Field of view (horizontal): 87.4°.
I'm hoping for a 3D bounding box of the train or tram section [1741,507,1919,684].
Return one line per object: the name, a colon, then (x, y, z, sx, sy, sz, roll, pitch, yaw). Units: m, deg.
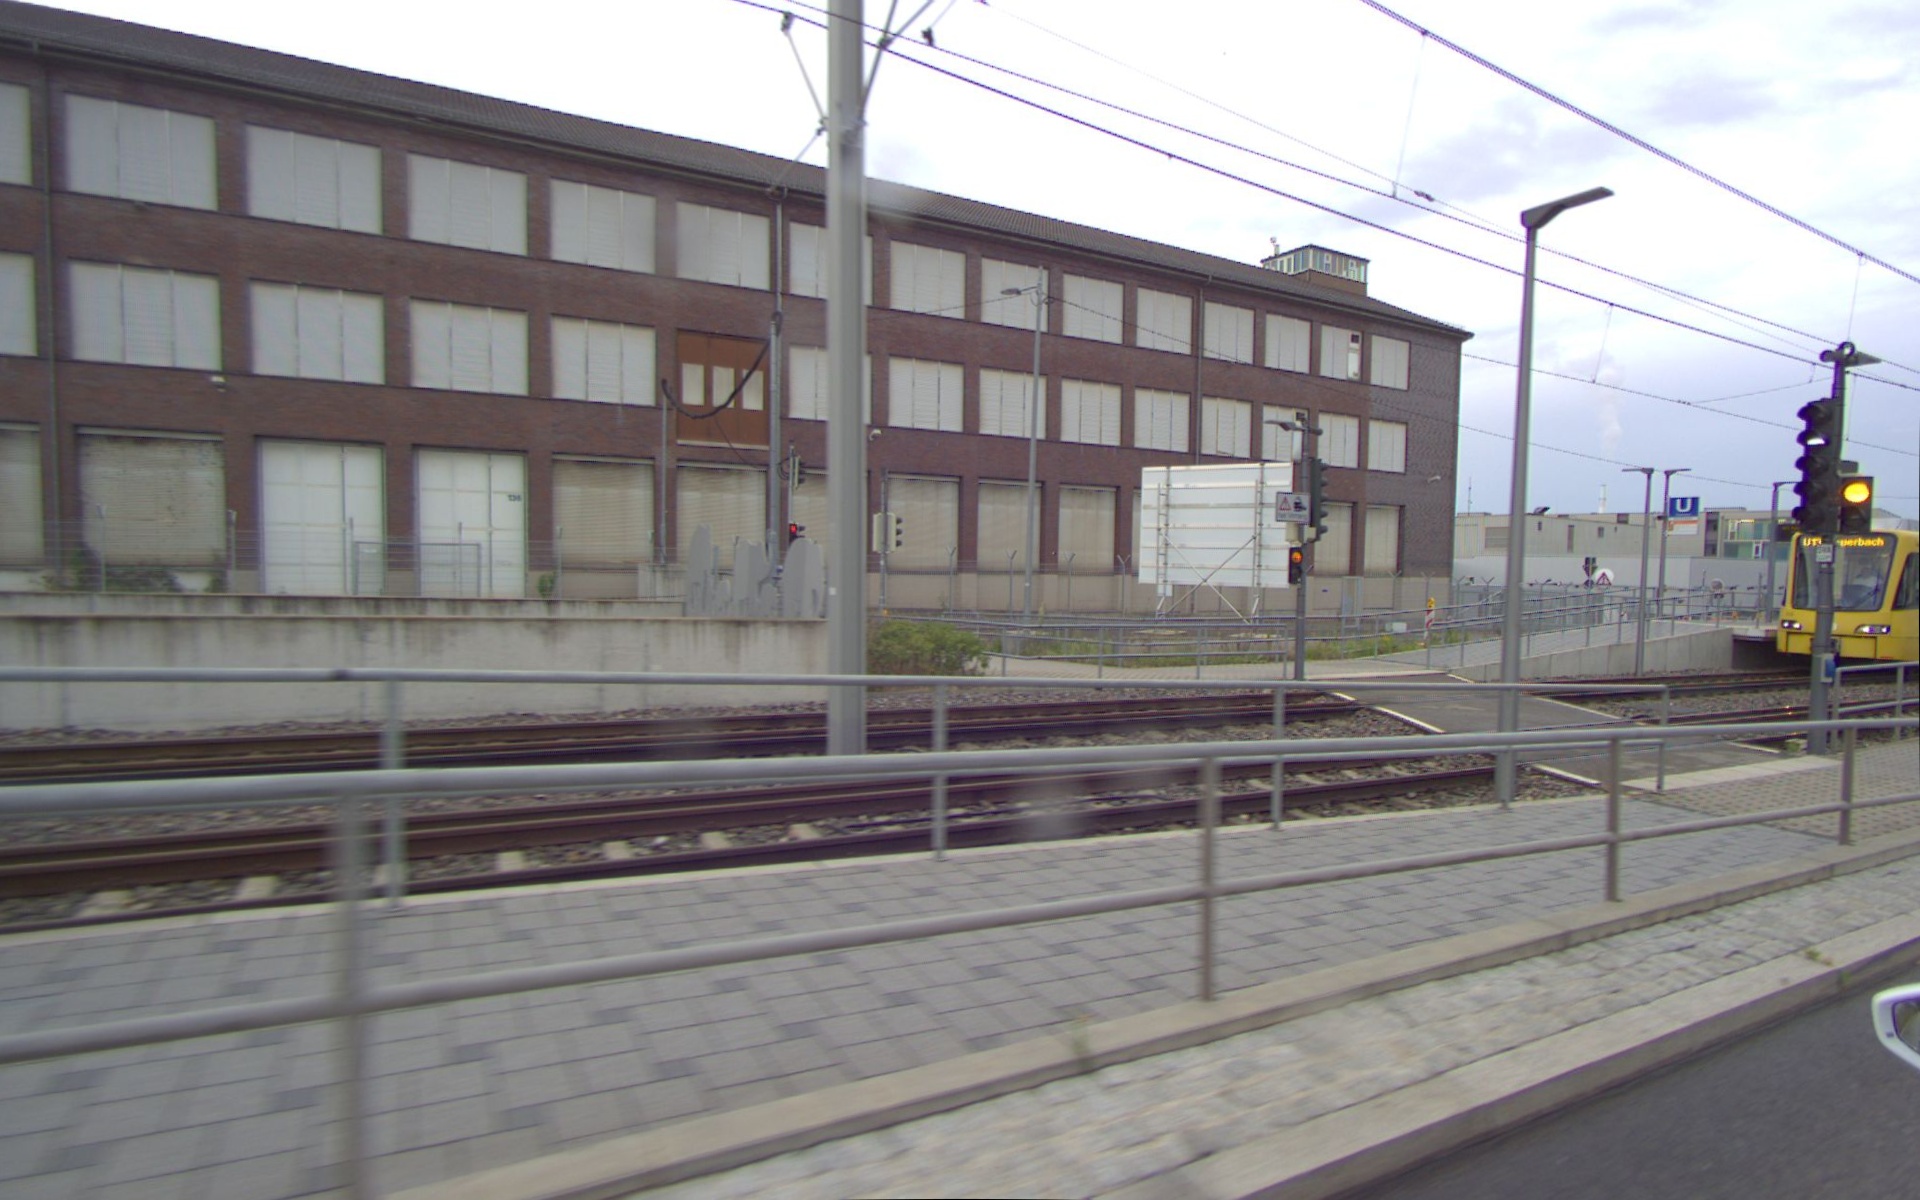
train or tram section: (28.340, -0.006, 28.864, 19.359, 3.938, 2.938, 1, 2, -33)
